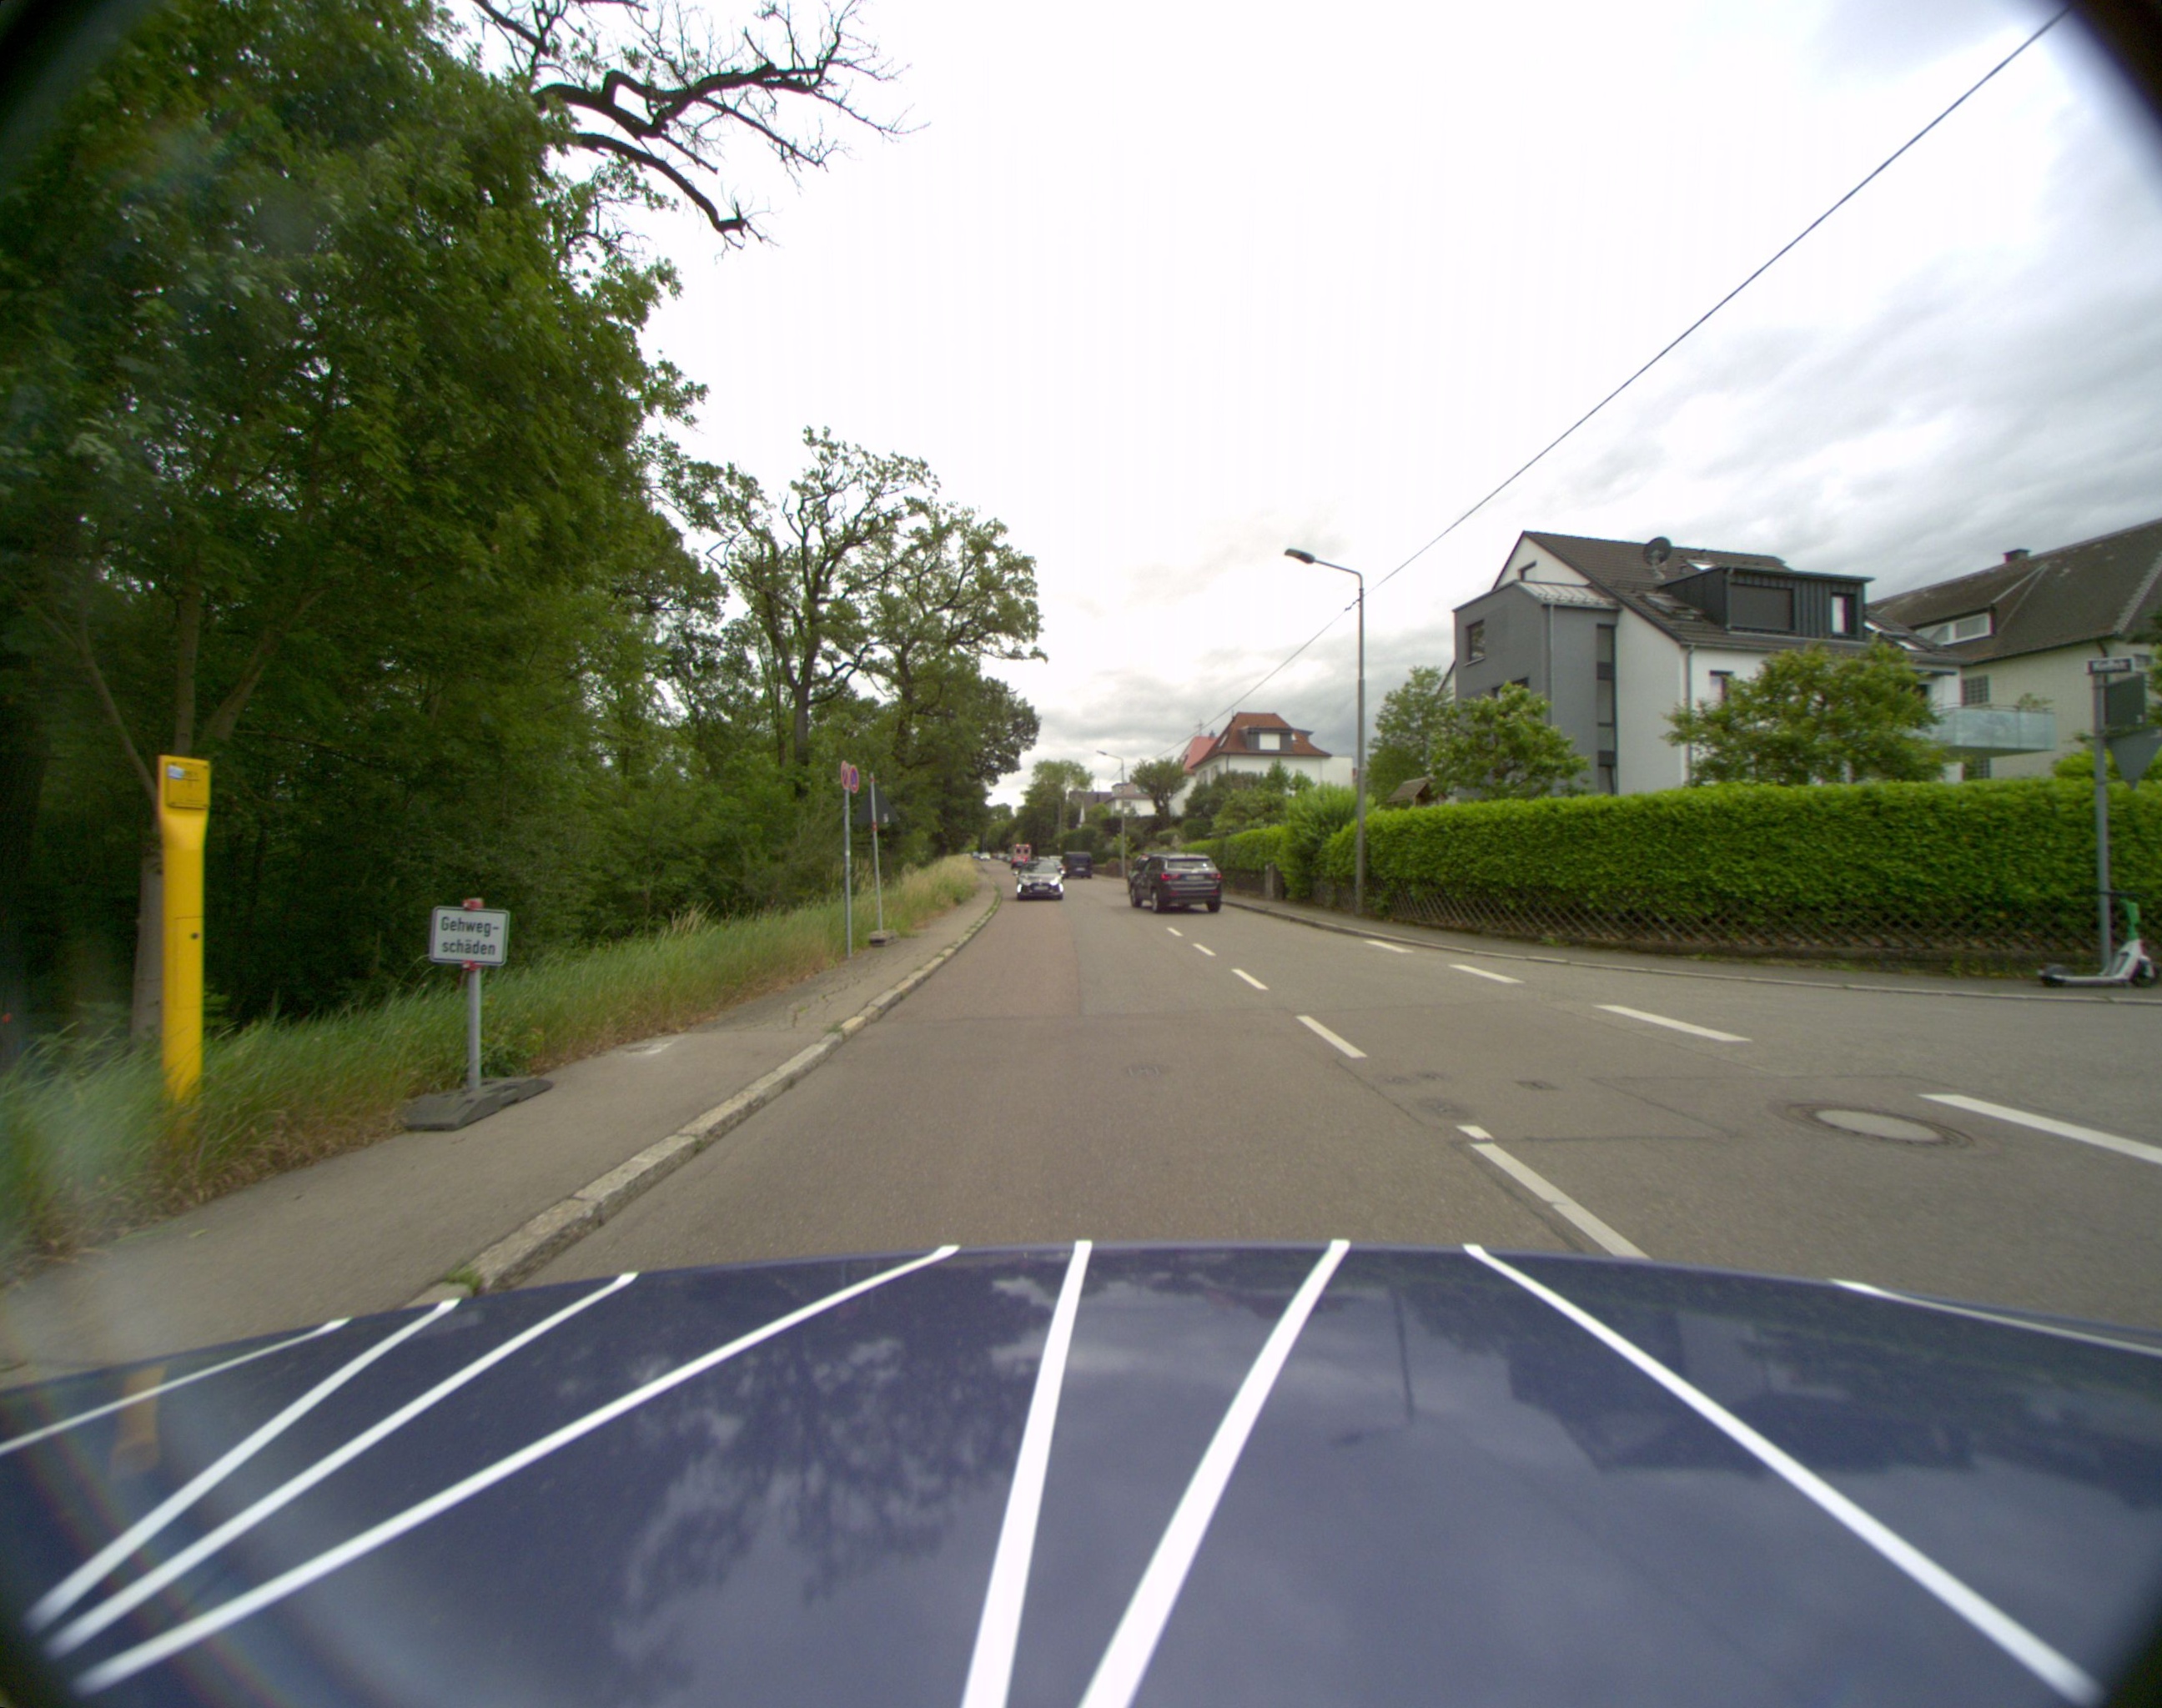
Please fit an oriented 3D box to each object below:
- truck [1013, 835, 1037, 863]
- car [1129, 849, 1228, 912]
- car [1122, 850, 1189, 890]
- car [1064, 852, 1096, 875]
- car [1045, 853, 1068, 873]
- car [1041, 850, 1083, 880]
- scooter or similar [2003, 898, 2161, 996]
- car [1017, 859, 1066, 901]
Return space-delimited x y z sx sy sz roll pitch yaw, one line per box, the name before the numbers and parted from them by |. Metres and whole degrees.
truck | -7.594 -0.659 102.189 3.008 3.618 7.084 0 0 -6
car | 2.659 0.676 21.700 1.819 1.590 3.953 -1 0 -8
car | 2.956 0.604 31.010 1.840 1.514 3.997 0 0 -8
car | -0.108 0.661 54.263 1.876 1.569 3.998 0 0 -6
car | -2.250 0.780 68.687 1.833 1.665 3.997 0 1 -6
car | -1.233 0.659 48.064 2.000 1.749 3.996 0 0 -11
scooter or similar | 12.019 1.096 9.030 1.454 1.095 0.455 -1 3 3
car | -1.531 0.951 29.230 1.731 1.449 3.853 -1 0 -3
